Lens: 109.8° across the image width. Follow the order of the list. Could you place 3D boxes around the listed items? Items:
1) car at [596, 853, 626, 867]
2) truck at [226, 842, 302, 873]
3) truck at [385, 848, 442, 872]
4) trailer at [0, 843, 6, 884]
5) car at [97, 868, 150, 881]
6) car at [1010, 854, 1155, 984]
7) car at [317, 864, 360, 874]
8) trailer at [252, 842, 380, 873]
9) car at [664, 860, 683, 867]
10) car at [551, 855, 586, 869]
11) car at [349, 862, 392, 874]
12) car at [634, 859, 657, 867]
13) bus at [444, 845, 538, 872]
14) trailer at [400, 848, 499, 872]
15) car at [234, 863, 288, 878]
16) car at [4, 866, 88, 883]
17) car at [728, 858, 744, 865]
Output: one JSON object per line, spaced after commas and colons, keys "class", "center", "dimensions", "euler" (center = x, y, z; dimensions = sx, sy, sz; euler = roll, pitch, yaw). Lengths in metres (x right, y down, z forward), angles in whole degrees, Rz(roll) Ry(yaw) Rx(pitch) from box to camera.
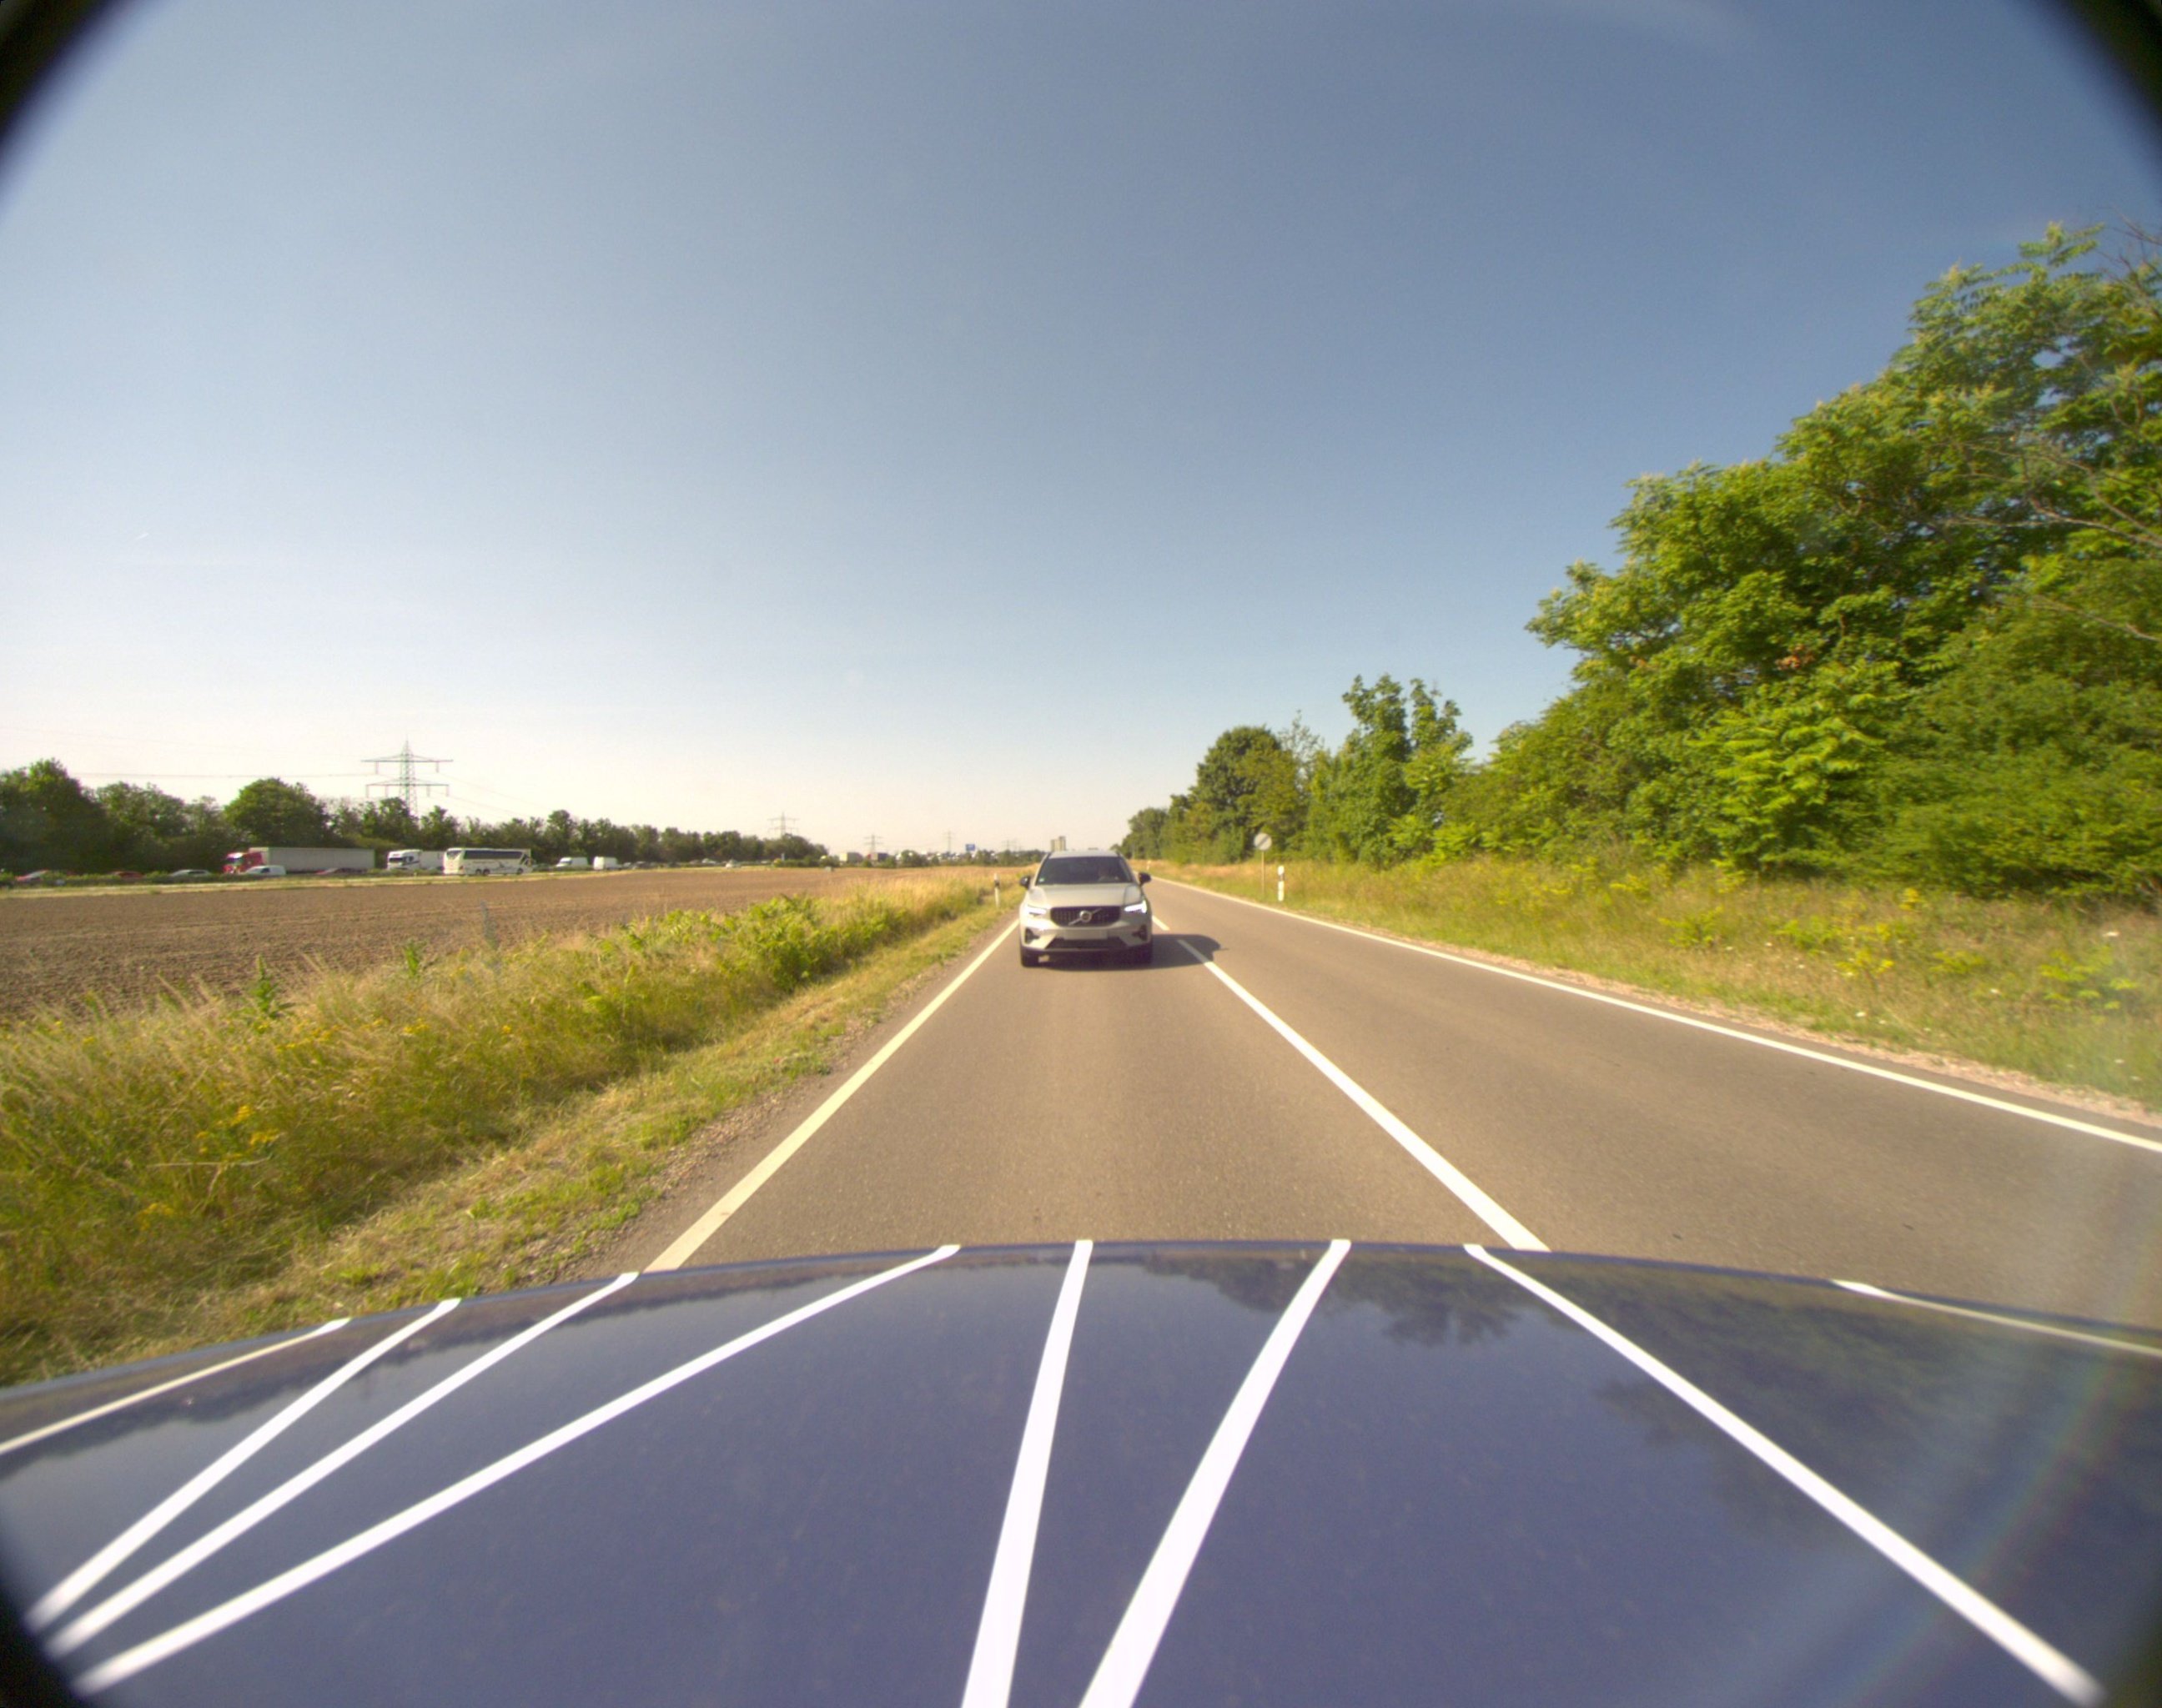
{"class": "car", "center": [-86.583, 1.131, 140.002], "dimensions": [1.998, 2.358, 5.521], "euler": [-2, 0, 0]}
{"class": "truck", "center": [-101.198, 0.432, 94.222], "dimensions": [2.953, 3.711, 5.869], "euler": [-1, 0, 0]}
{"class": "truck", "center": [-100.868, 0.904, 114.990], "dimensions": [3.210, 3.510, 6.108], "euler": [0, 0, 0]}
{"class": "trailer", "center": [-101.147, 0.902, 63.611], "dimensions": [3.079, 3.711, 13.367], "euler": [-1, 0, 1]}
{"class": "car", "center": [-101.221, 2.188, 80.370], "dimensions": [1.344, 1.212, 3.291], "euler": [-2, 0, -1]}
{"class": "car", "center": [0.060, 0.846, 11.921], "dimensions": [1.840, 1.628, 4.135], "euler": [-2, 0, 1]}
{"class": "car", "center": [-94.568, 1.872, 96.834], "dimensions": [1.671, 1.141, 3.731], "euler": [-2, 0, 0]}
{"class": "trailer", "center": [-101.141, 0.426, 101.065], "dimensions": [2.953, 3.711, 13.782], "euler": [-1, 0, 0]}
{"class": "car", "center": [-86.563, 2.102, 161.310], "dimensions": [1.707, 1.366, 4.094], "euler": [-2, 0, 1]}
{"class": "car", "center": [-95.607, 1.511, 141.961], "dimensions": [2.042, 2.433, 6.413], "euler": [-2, 0, 1]}
{"class": "car", "center": [-94.748, 1.870, 101.373], "dimensions": [1.707, 1.500, 4.094], "euler": [-2, 0, 0]}
{"class": "car", "center": [-82.223, 1.714, 143.513], "dimensions": [1.707, 1.464, 4.210], "euler": [-2, 0, 1]}
{"class": "bus", "center": [-85.957, 0.663, 111.201], "dimensions": [2.469, 3.781, 14.547], "euler": [-1, 0, 0]}
{"class": "trailer", "center": [-100.856, 0.900, 121.913], "dimensions": [3.210, 3.510, 15.082], "euler": [0, 0, 0]}
{"class": "car", "center": [-95.001, 1.867, 88.094], "dimensions": [1.707, 1.629, 4.093], "euler": [-2, 0, 0]}
{"class": "car", "center": [-95.702, 1.861, 70.340], "dimensions": [1.855, 1.377, 4.248], "euler": [-2, 0, 0]}
{"class": "car", "center": [-81.326, 1.813, 179.258], "dimensions": [1.707, 1.534, 4.195], "euler": [-2, 1, 0]}
